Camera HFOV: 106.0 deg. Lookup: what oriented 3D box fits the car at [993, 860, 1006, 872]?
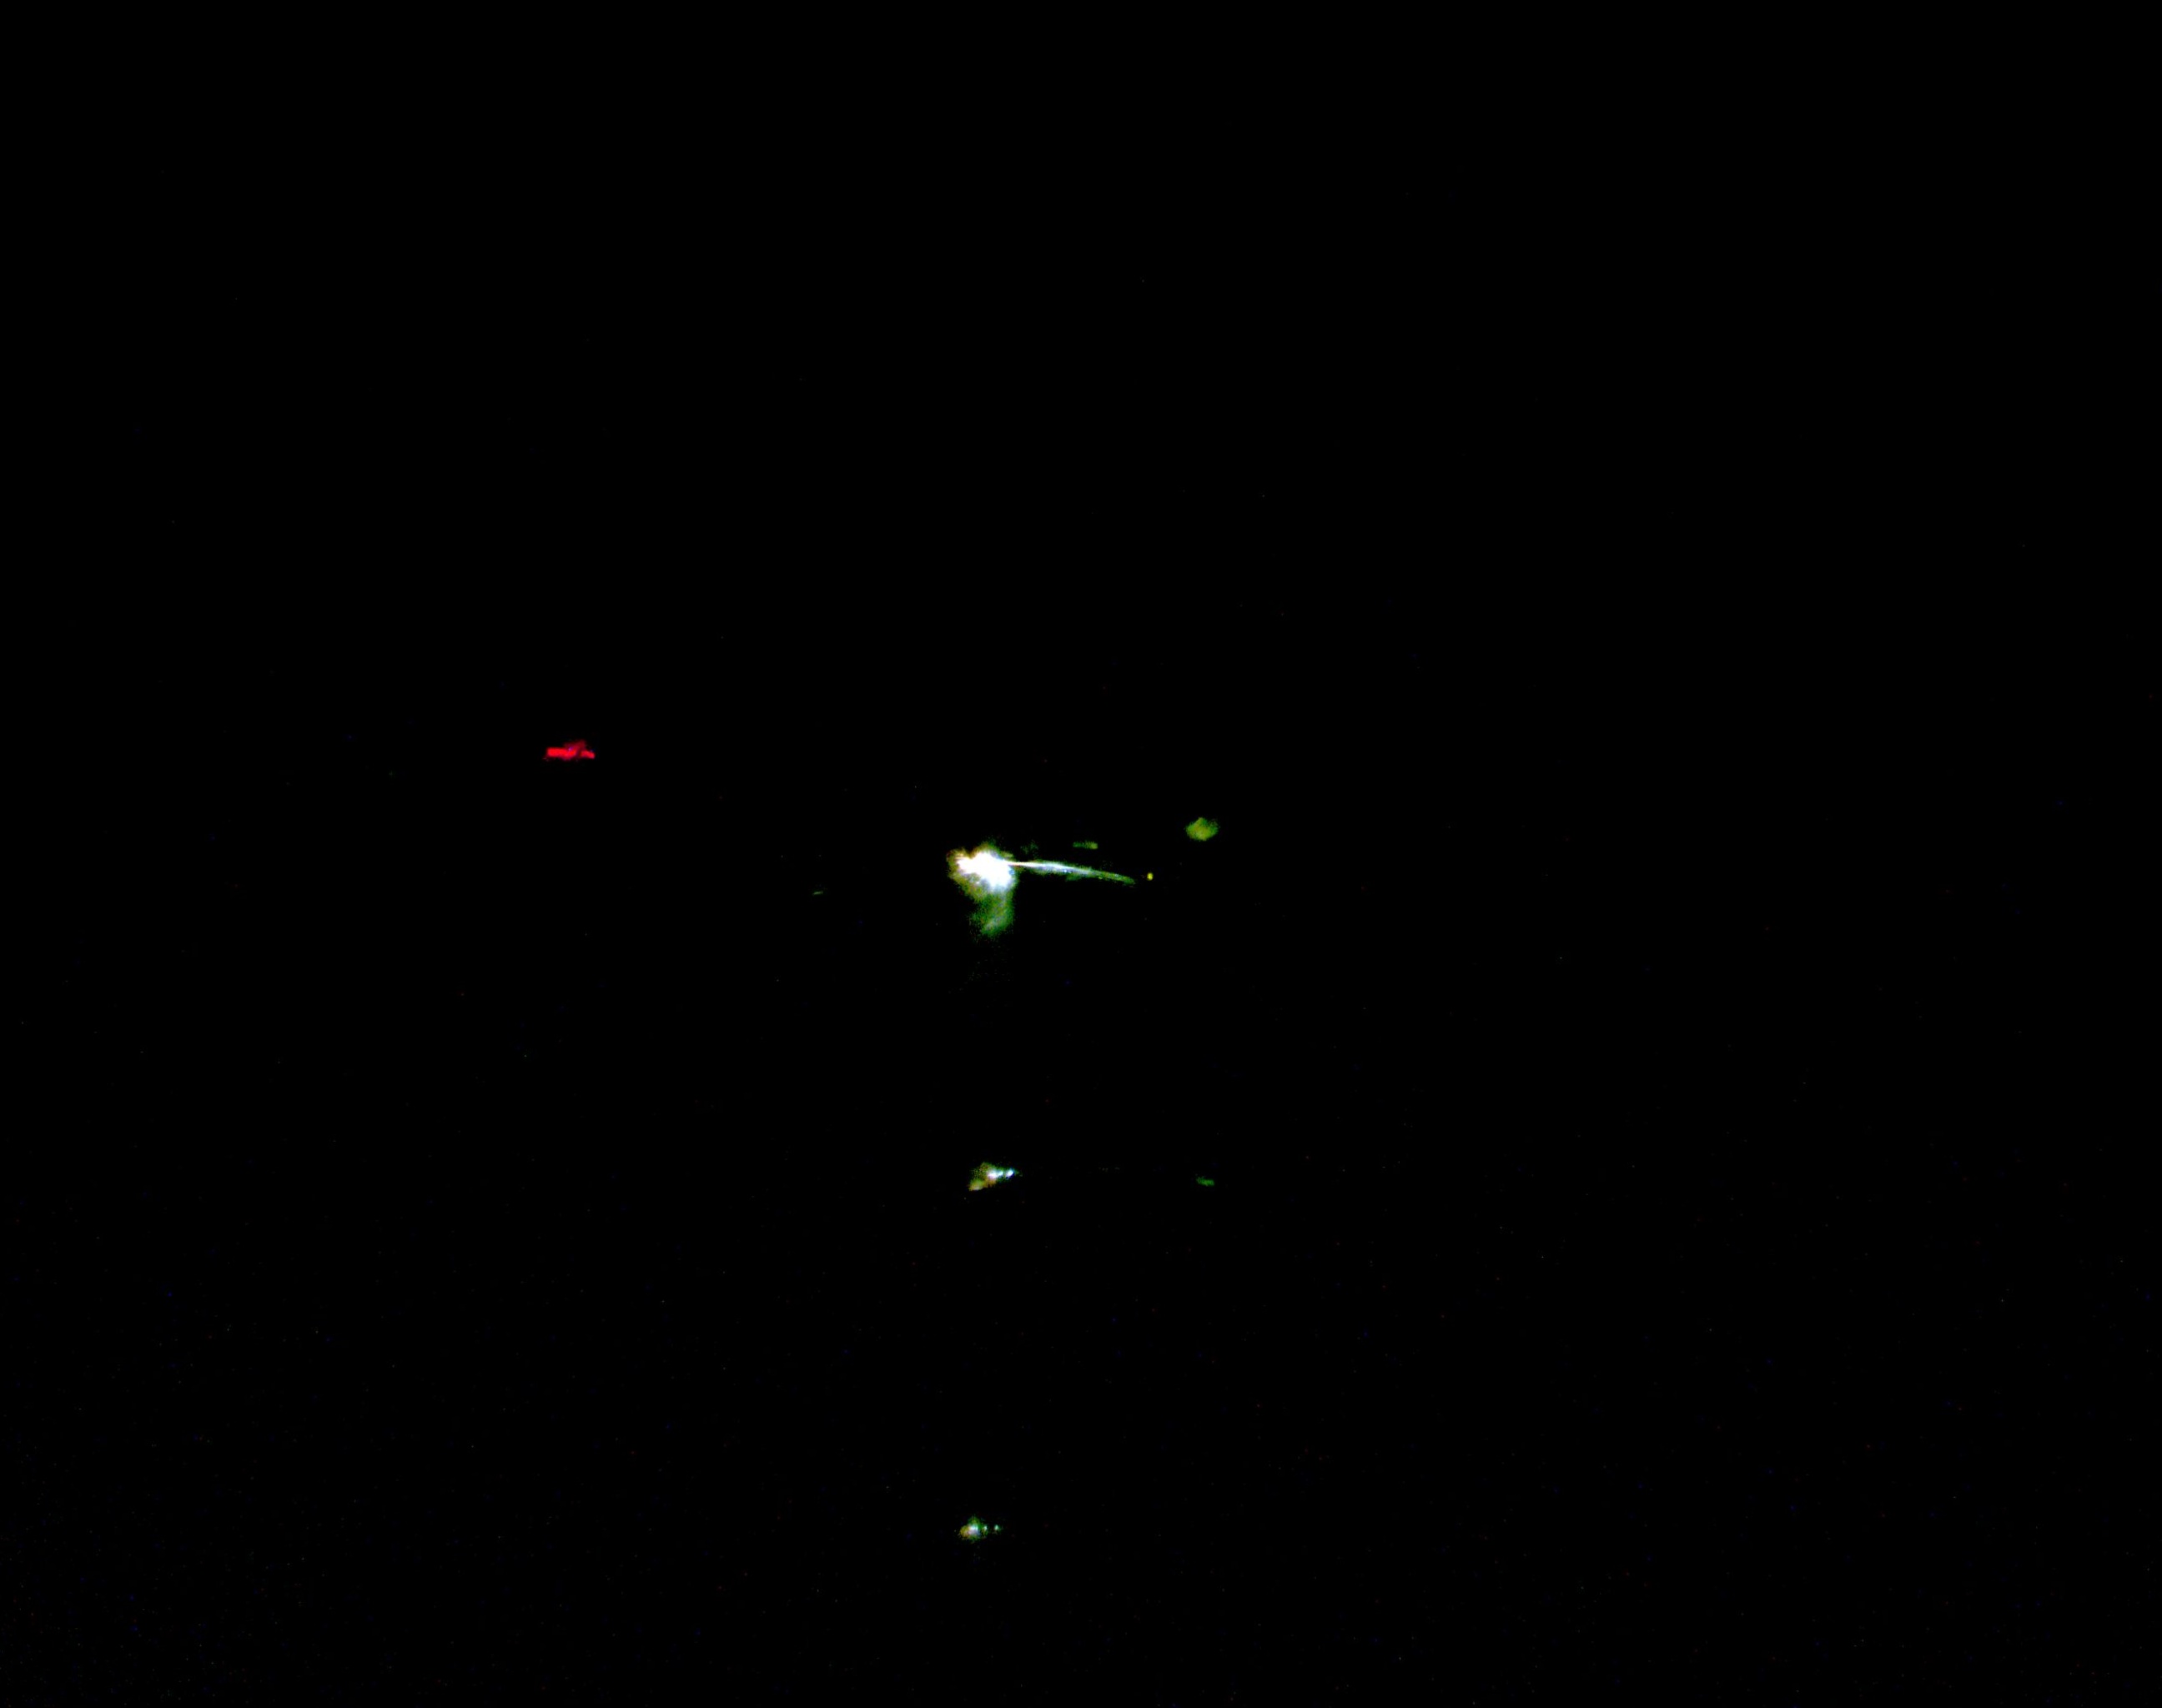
[{"bbox_3d":[-10.849,1.624,108.472,1.700,1.506,3.675,-1,0,-7],"label":"car"}]
